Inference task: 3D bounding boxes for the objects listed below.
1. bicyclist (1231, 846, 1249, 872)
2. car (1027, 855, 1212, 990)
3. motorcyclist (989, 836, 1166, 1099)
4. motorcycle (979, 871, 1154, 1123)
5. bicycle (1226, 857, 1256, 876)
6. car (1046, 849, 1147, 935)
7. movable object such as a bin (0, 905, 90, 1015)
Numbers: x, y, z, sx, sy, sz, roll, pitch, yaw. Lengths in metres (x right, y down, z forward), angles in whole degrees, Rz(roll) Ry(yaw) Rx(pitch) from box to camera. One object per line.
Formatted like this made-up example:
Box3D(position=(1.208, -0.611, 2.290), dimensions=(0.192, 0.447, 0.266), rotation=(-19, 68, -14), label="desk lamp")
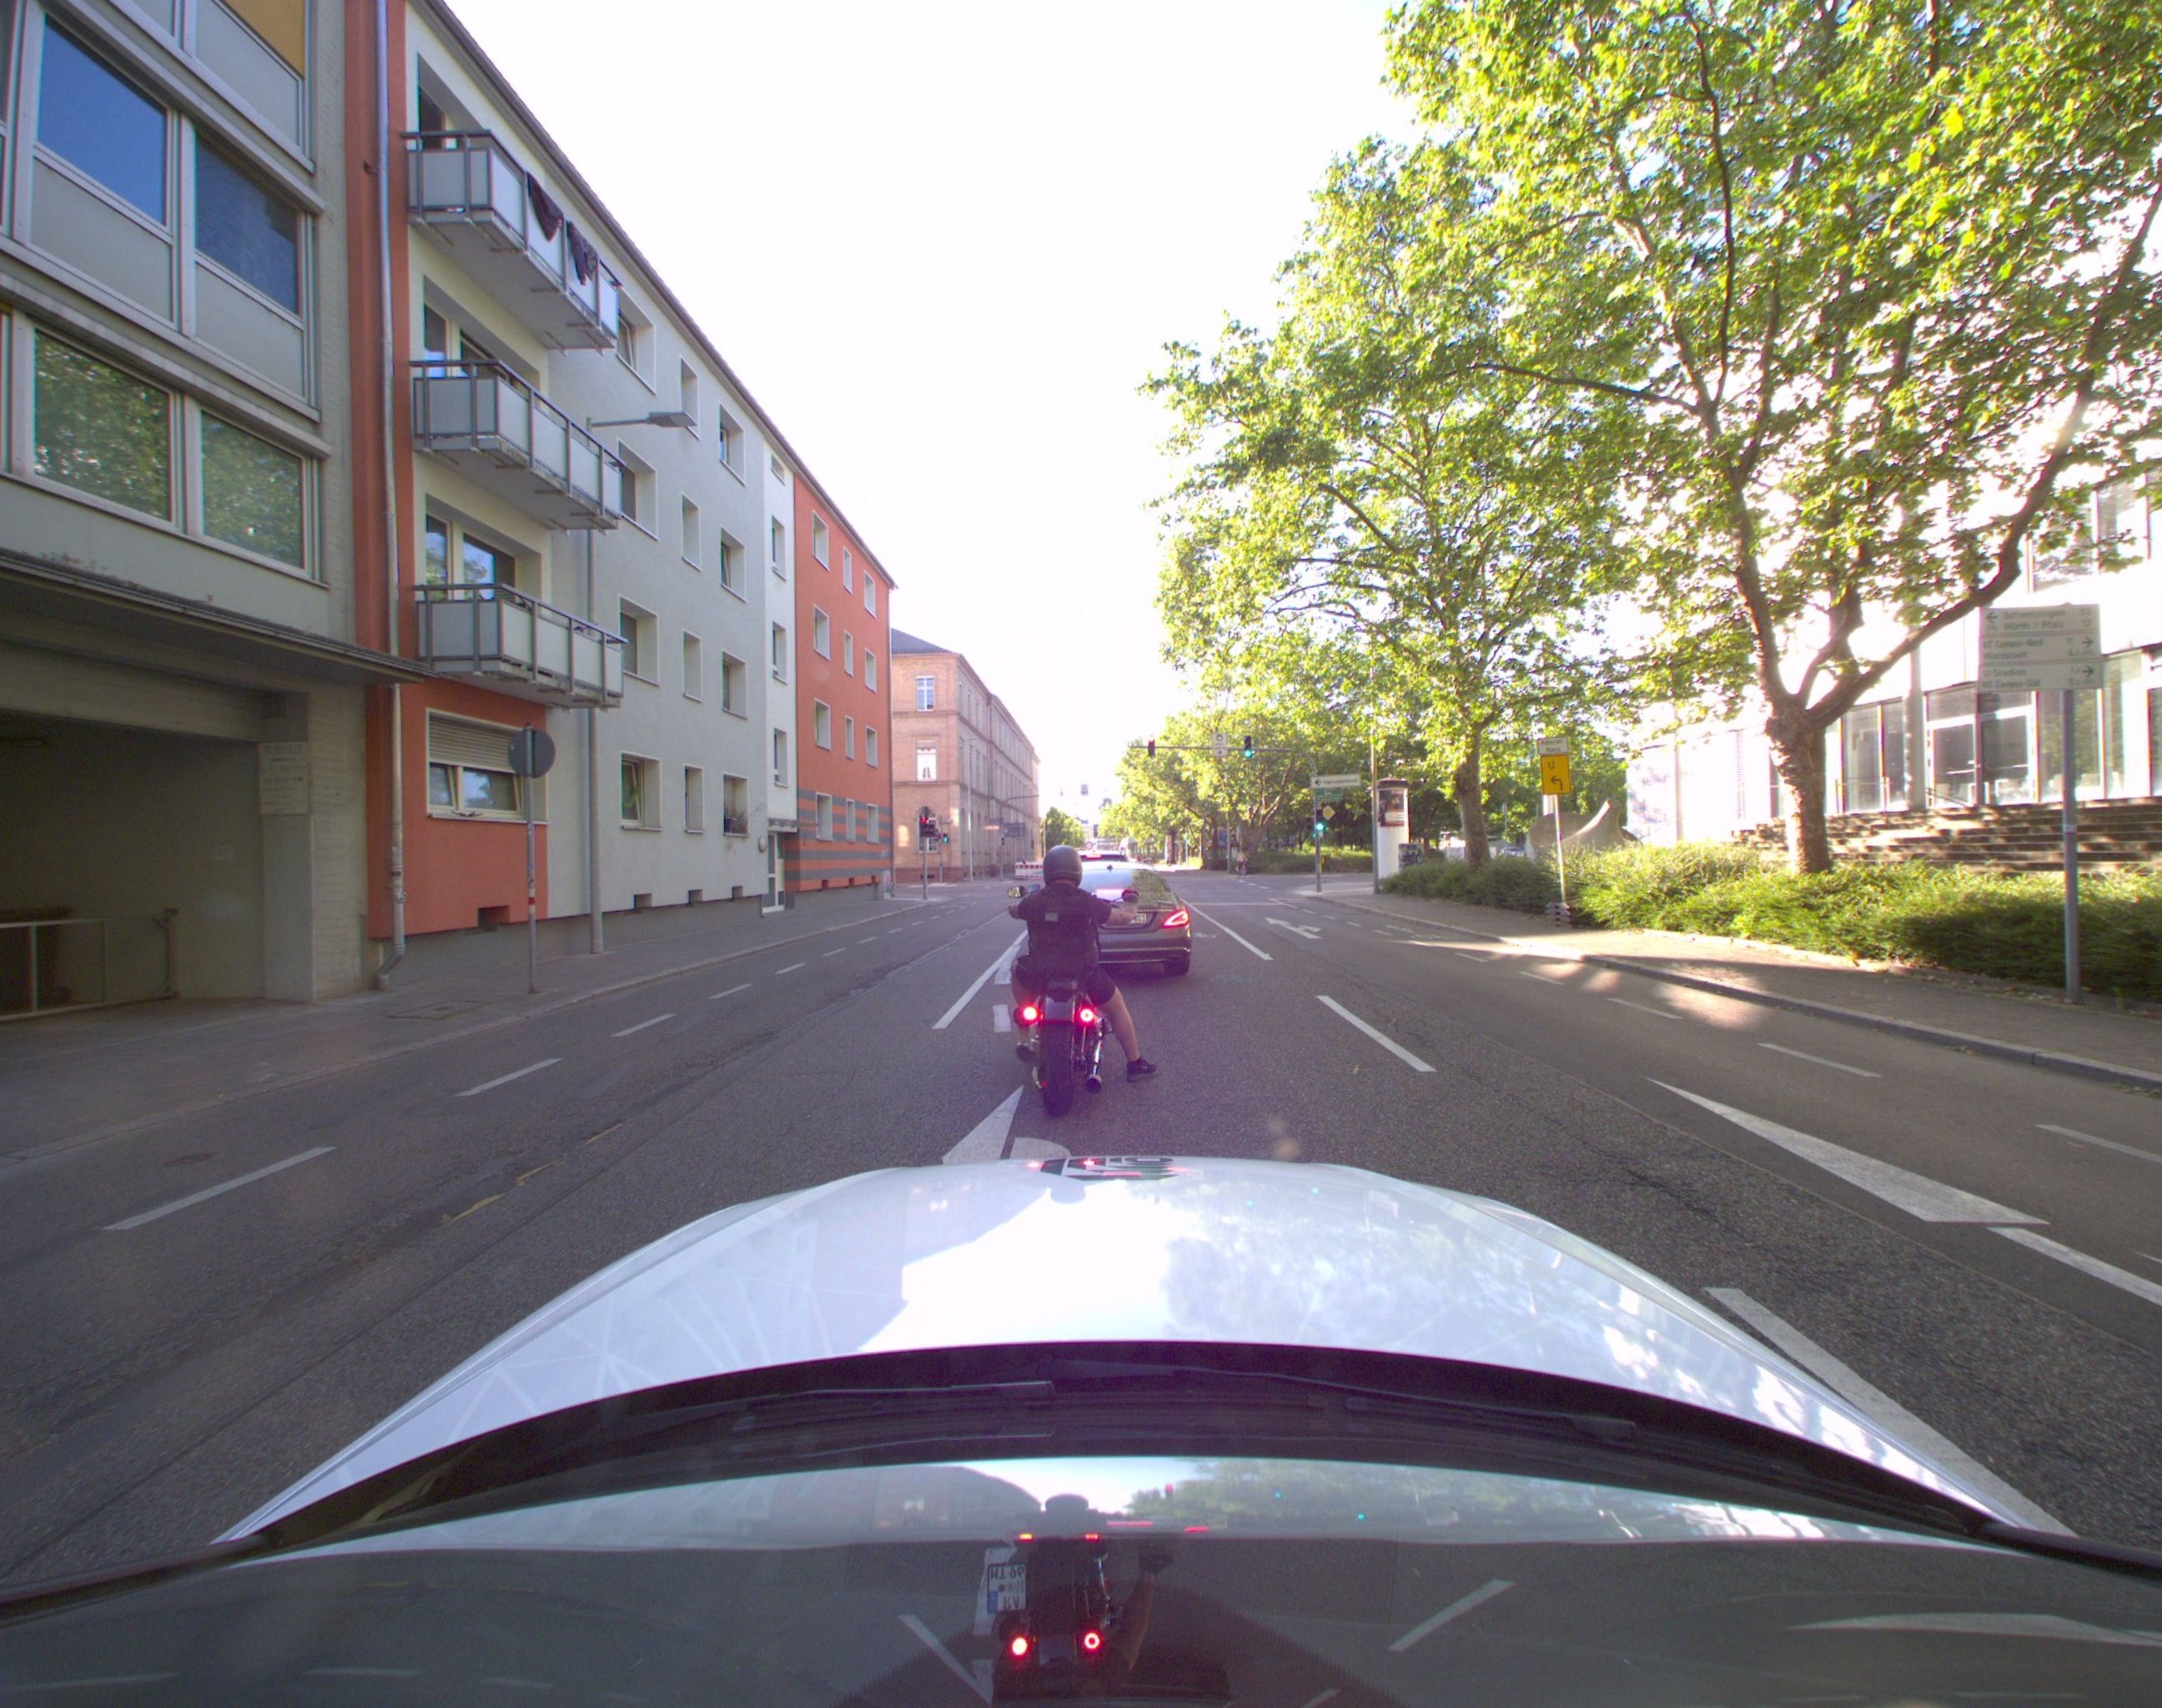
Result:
Box3D(position=(9.885, 0.308, 50.573), dimensions=(0.719, 1.582, 0.929), rotation=(0, -1, -22), label="bicyclist")
Box3D(position=(0.303, 0.759, 11.226), dimensions=(1.900, 1.441, 4.279), rotation=(-1, 0, -6), label="car")
Box3D(position=(-0.010, 0.688, 5.382), dimensions=(1.057, 1.582, 0.908), rotation=(0, -1, 1), label="motorcyclist")
Box3D(position=(-0.045, 0.813, 5.652), dimensions=(0.958, 1.357, 2.321), rotation=(0, -1, 2), label="motorcycle")
Box3D(position=(9.908, 0.762, 50.526), dimensions=(0.718, 1.172, 2.160), rotation=(0, -1, -22), label="bicycle")
Box3D(position=(0.265, 0.697, 16.887), dimensions=(1.808, 1.536, 3.847), rotation=(-1, 0, -1), label="car")
Box3D(position=(-11.329, 1.101, 8.640), dimensions=(0.736, 1.074, 0.716), rotation=(0, -1, 2), label="movable object such as a bin")
